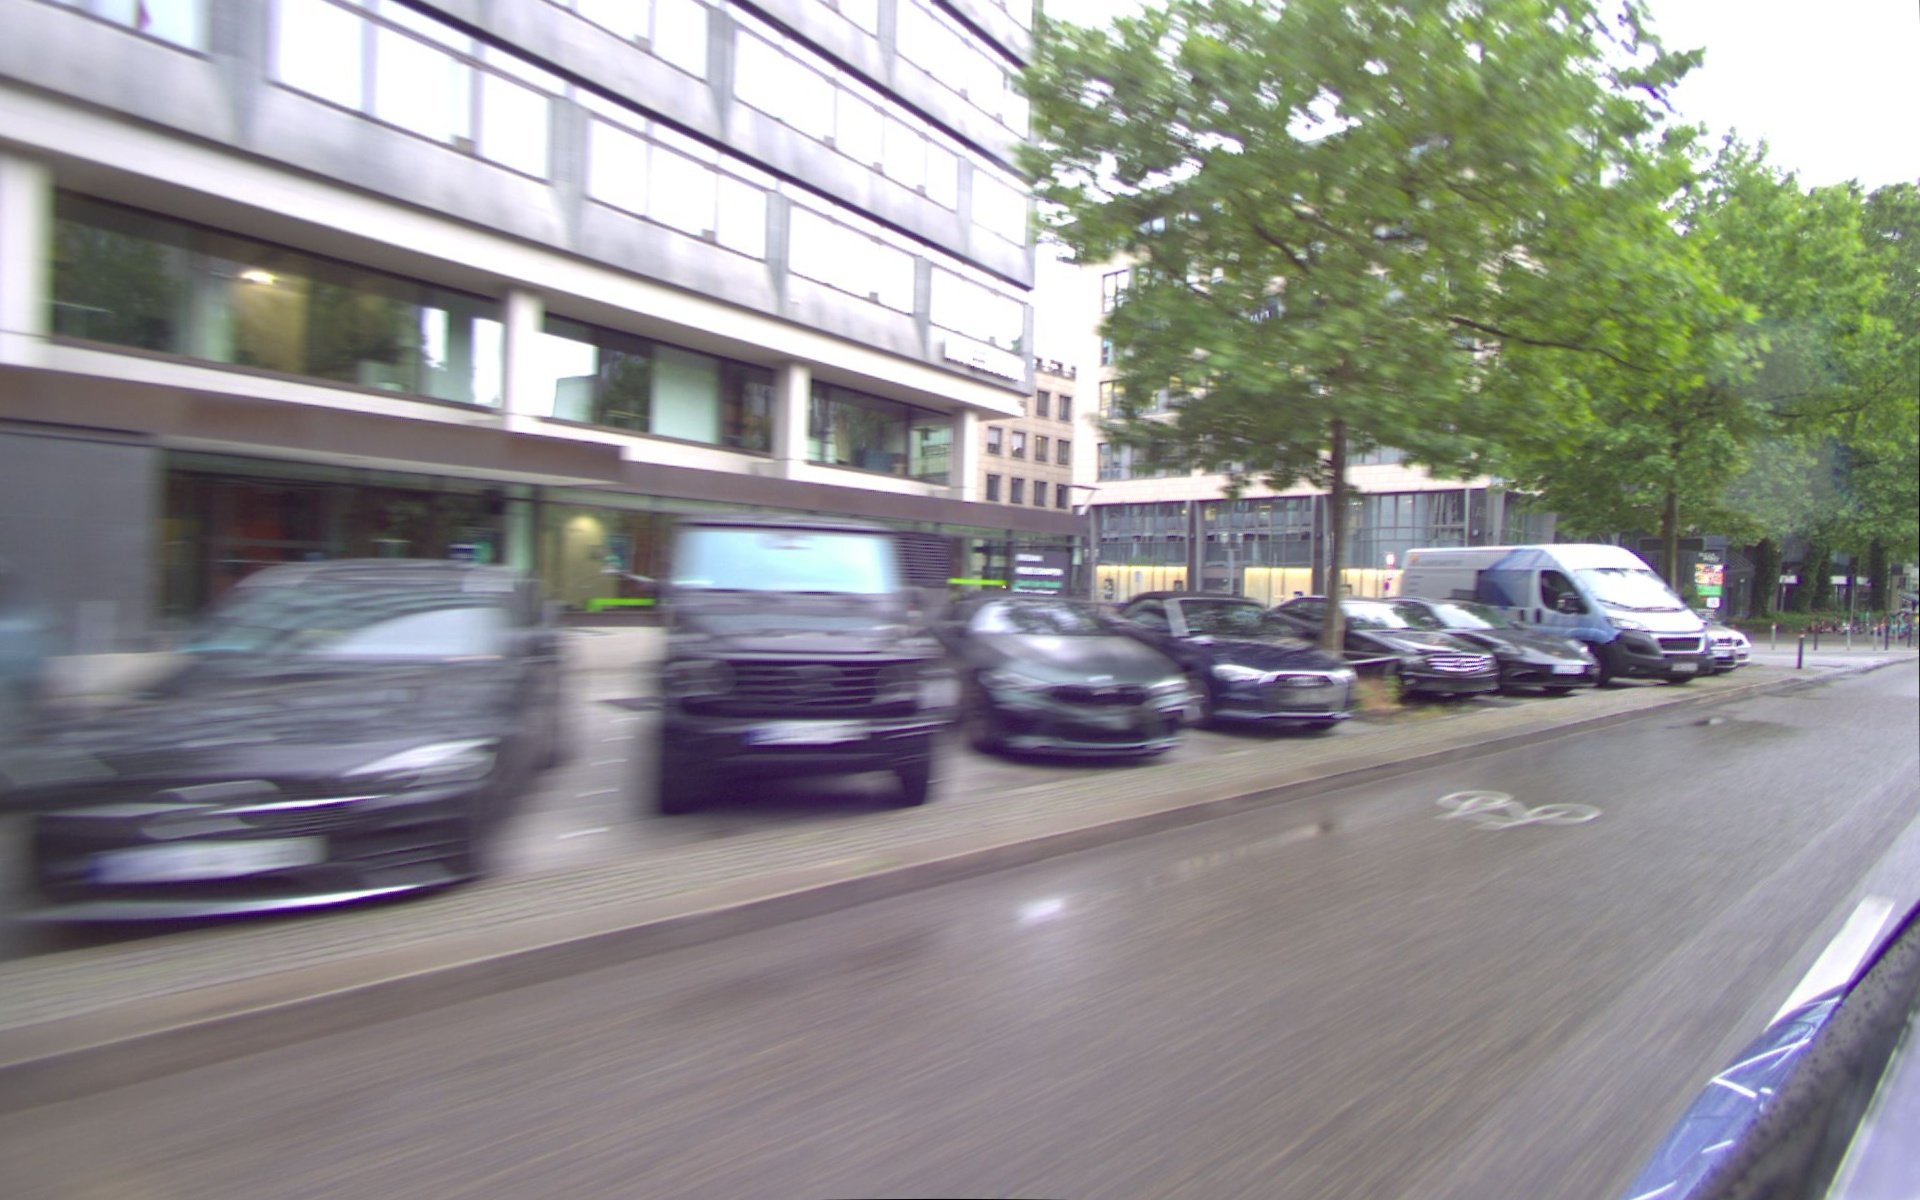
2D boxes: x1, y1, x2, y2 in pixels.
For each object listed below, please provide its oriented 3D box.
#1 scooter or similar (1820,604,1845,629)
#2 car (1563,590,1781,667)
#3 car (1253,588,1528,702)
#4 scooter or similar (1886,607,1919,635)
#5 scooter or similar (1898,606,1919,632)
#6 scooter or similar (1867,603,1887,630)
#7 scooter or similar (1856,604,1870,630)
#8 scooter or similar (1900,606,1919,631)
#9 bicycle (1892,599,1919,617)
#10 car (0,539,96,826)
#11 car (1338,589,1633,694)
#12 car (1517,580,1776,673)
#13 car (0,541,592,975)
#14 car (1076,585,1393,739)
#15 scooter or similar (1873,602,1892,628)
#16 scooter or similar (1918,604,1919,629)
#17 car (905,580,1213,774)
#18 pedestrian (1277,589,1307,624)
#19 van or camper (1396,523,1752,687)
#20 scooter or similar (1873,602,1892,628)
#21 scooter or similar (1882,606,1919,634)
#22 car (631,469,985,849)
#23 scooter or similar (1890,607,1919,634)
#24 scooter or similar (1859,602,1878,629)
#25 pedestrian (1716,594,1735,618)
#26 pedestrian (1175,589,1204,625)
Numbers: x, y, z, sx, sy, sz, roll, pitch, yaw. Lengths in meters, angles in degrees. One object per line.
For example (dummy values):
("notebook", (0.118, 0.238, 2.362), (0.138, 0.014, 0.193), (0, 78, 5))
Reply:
("scooter or similar", (43.249, 0.815, 50.170), (0.483, 1.212, 1.285), (0, 1, 19))
("car", (15.700, 0.561, 22.528), (1.679, 1.566, 3.668), (0, 0, -20))
("car", (6.344, 0.565, 15.505), (1.684, 1.454, 4.222), (0, 1, -14))
("scooter or similar", (45.362, 1.007, 48.541), (0.479, 1.275, 1.296), (2, 1, -27))
("scooter or similar", (48.323, 0.958, 51.134), (0.480, 1.251, 1.293), (2, 1, -37))
("scooter or similar", (44.710, 0.814, 49.333), (1.270, 1.275, 0.489), (2, 1, -40))
("scooter or similar", (43.812, 0.825, 49.111), (0.487, 1.212, 1.274), (1, 1, 41))
("scooter or similar", (48.883, 0.946, 51.604), (0.480, 1.251, 1.293), (2, 1, -37))
("bicycle", (57.091, 0.472, 60.836), (1.727, 1.041, 0.640), (0, 0, -10))
("car", (-5.600, 0.478, 4.200), (1.830, 1.553, 4.800), (1, 2, -25))
("car", (8.433, 0.571, 16.780), (1.900, 1.454, 4.411), (0, 1, -14))
("car", (13.765, 0.467, 20.637), (1.780, 1.688, 4.279), (0, 0, -14))
("car", (-3.336, 0.485, 5.930), (1.830, 1.525, 4.580), (1, 2, -15))
("car", (2.962, 0.567, 12.030), (1.725, 1.454, 4.388), (0, 1, -14))
("scooter or similar", (46.803, 0.769, 51.333), (1.270, 1.275, 0.489), (2, 1, -40))
("scooter or similar", (51.229, 0.905, 53.107), (0.527, 1.294, 1.294), (2, 1, -35))
("car", (0.684, 0.555, 10.248), (1.809, 1.412, 4.648), (0, 2, -11))
("pedestrian", (17.965, 0.344, 54.703), (0.905, 1.873, 1.274), (-1, 0, -43))
("van or camper", (11.124, 0.018, 19.133), (2.061, 2.590, 6.098), (0, 1, -13))
("scooter or similar", (46.803, 0.769, 51.333), (1.270, 1.275, 0.489), (2, 1, -40))
("scooter or similar", (46.038, 0.988, 49.496), (0.479, 1.275, 1.296), (2, 1, -27))
("car", (-1.392, 0.240, 7.962), (1.889, 2.003, 4.965), (1, 2, -14))
("scooter or similar", (45.870, 0.998, 48.867), (0.479, 1.275, 1.296), (2, 1, -27))
("scooter or similar", (45.637, 0.785, 50.855), (1.270, 1.275, 0.489), (2, 1, -40))
("pedestrian", (56.553, 0.429, 74.768), (0.813, 1.714, 0.728), (2, 1, 3))
("pedestrian", (11.200, 0.345, 49.468), (0.792, 1.718, 1.188), (0, 0, -31))
